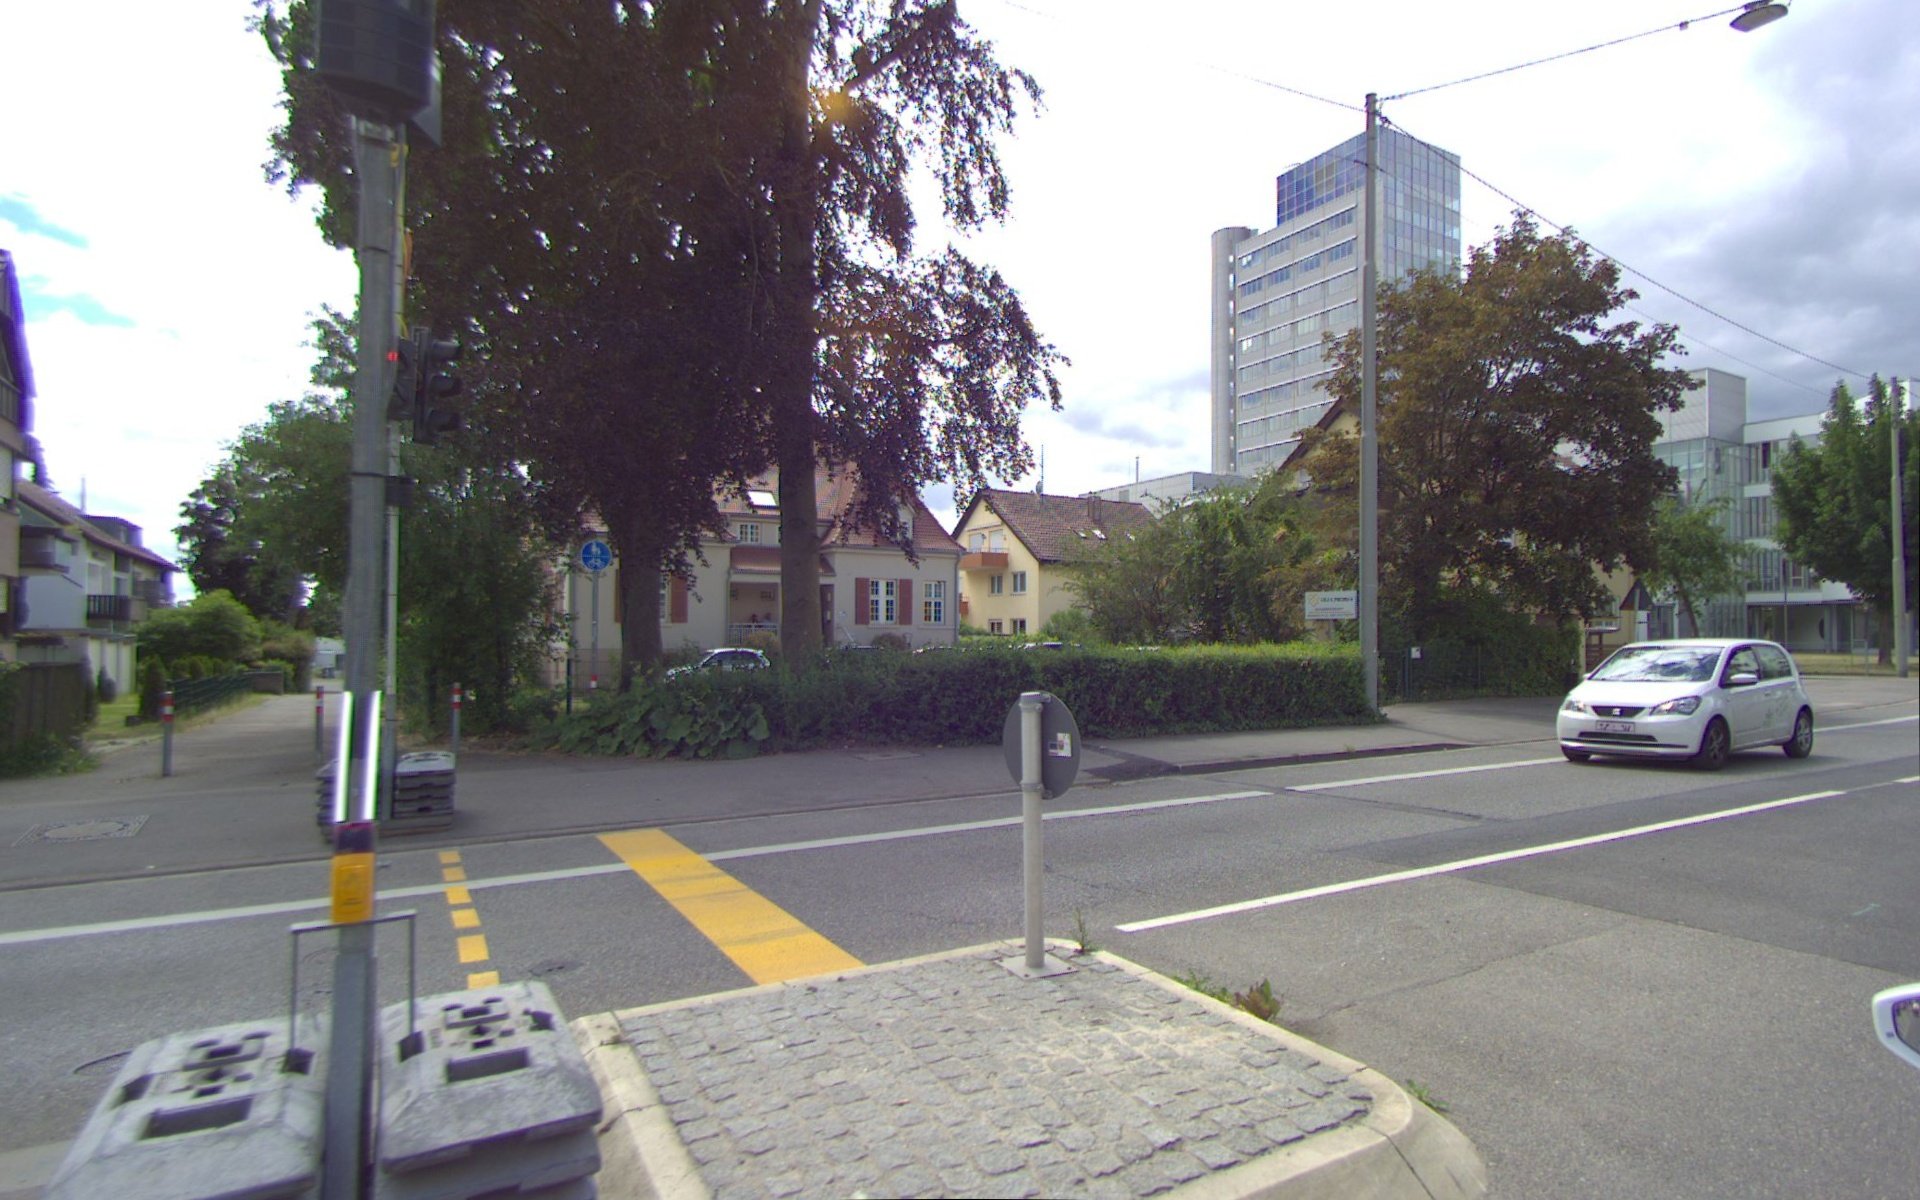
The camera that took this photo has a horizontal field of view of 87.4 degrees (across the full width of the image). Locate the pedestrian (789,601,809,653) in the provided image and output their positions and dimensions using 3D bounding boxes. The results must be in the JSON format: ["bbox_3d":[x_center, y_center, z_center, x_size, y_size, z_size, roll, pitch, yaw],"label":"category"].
[{"bbox_3d":[-6.063,1.018,37.854,0.576,1.933,0.587,1,-3,-30],"label":"pedestrian"}]

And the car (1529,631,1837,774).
[{"bbox_3d":[9.035,1.156,12.492,3.953,1.535,1.653,1,-2,-30],"label":"car"}]

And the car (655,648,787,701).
[{"bbox_3d":[-7.742,2.371,32.594,3.828,1.572,1.856,1,-2,-30],"label":"car"}]

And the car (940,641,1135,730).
[{"bbox_3d":[1.487,1.547,19.069,3.398,1.535,1.652,1,-2,-32],"label":"car"}]

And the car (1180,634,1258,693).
[{"bbox_3d":[7.322,1.729,28.192,1.634,1.535,3.435,-1,-2,23],"label":"car"}]

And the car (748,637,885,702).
[{"bbox_3d":[-3.948,1.865,27.802,3.398,1.685,1.652,1,-2,-32],"label":"car"}]

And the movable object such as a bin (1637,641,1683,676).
[{"bbox_3d":[27.996,2.344,40.195,1.389,1.347,1.417,-3,-4,39],"label":"movable object such as a bin"}]
